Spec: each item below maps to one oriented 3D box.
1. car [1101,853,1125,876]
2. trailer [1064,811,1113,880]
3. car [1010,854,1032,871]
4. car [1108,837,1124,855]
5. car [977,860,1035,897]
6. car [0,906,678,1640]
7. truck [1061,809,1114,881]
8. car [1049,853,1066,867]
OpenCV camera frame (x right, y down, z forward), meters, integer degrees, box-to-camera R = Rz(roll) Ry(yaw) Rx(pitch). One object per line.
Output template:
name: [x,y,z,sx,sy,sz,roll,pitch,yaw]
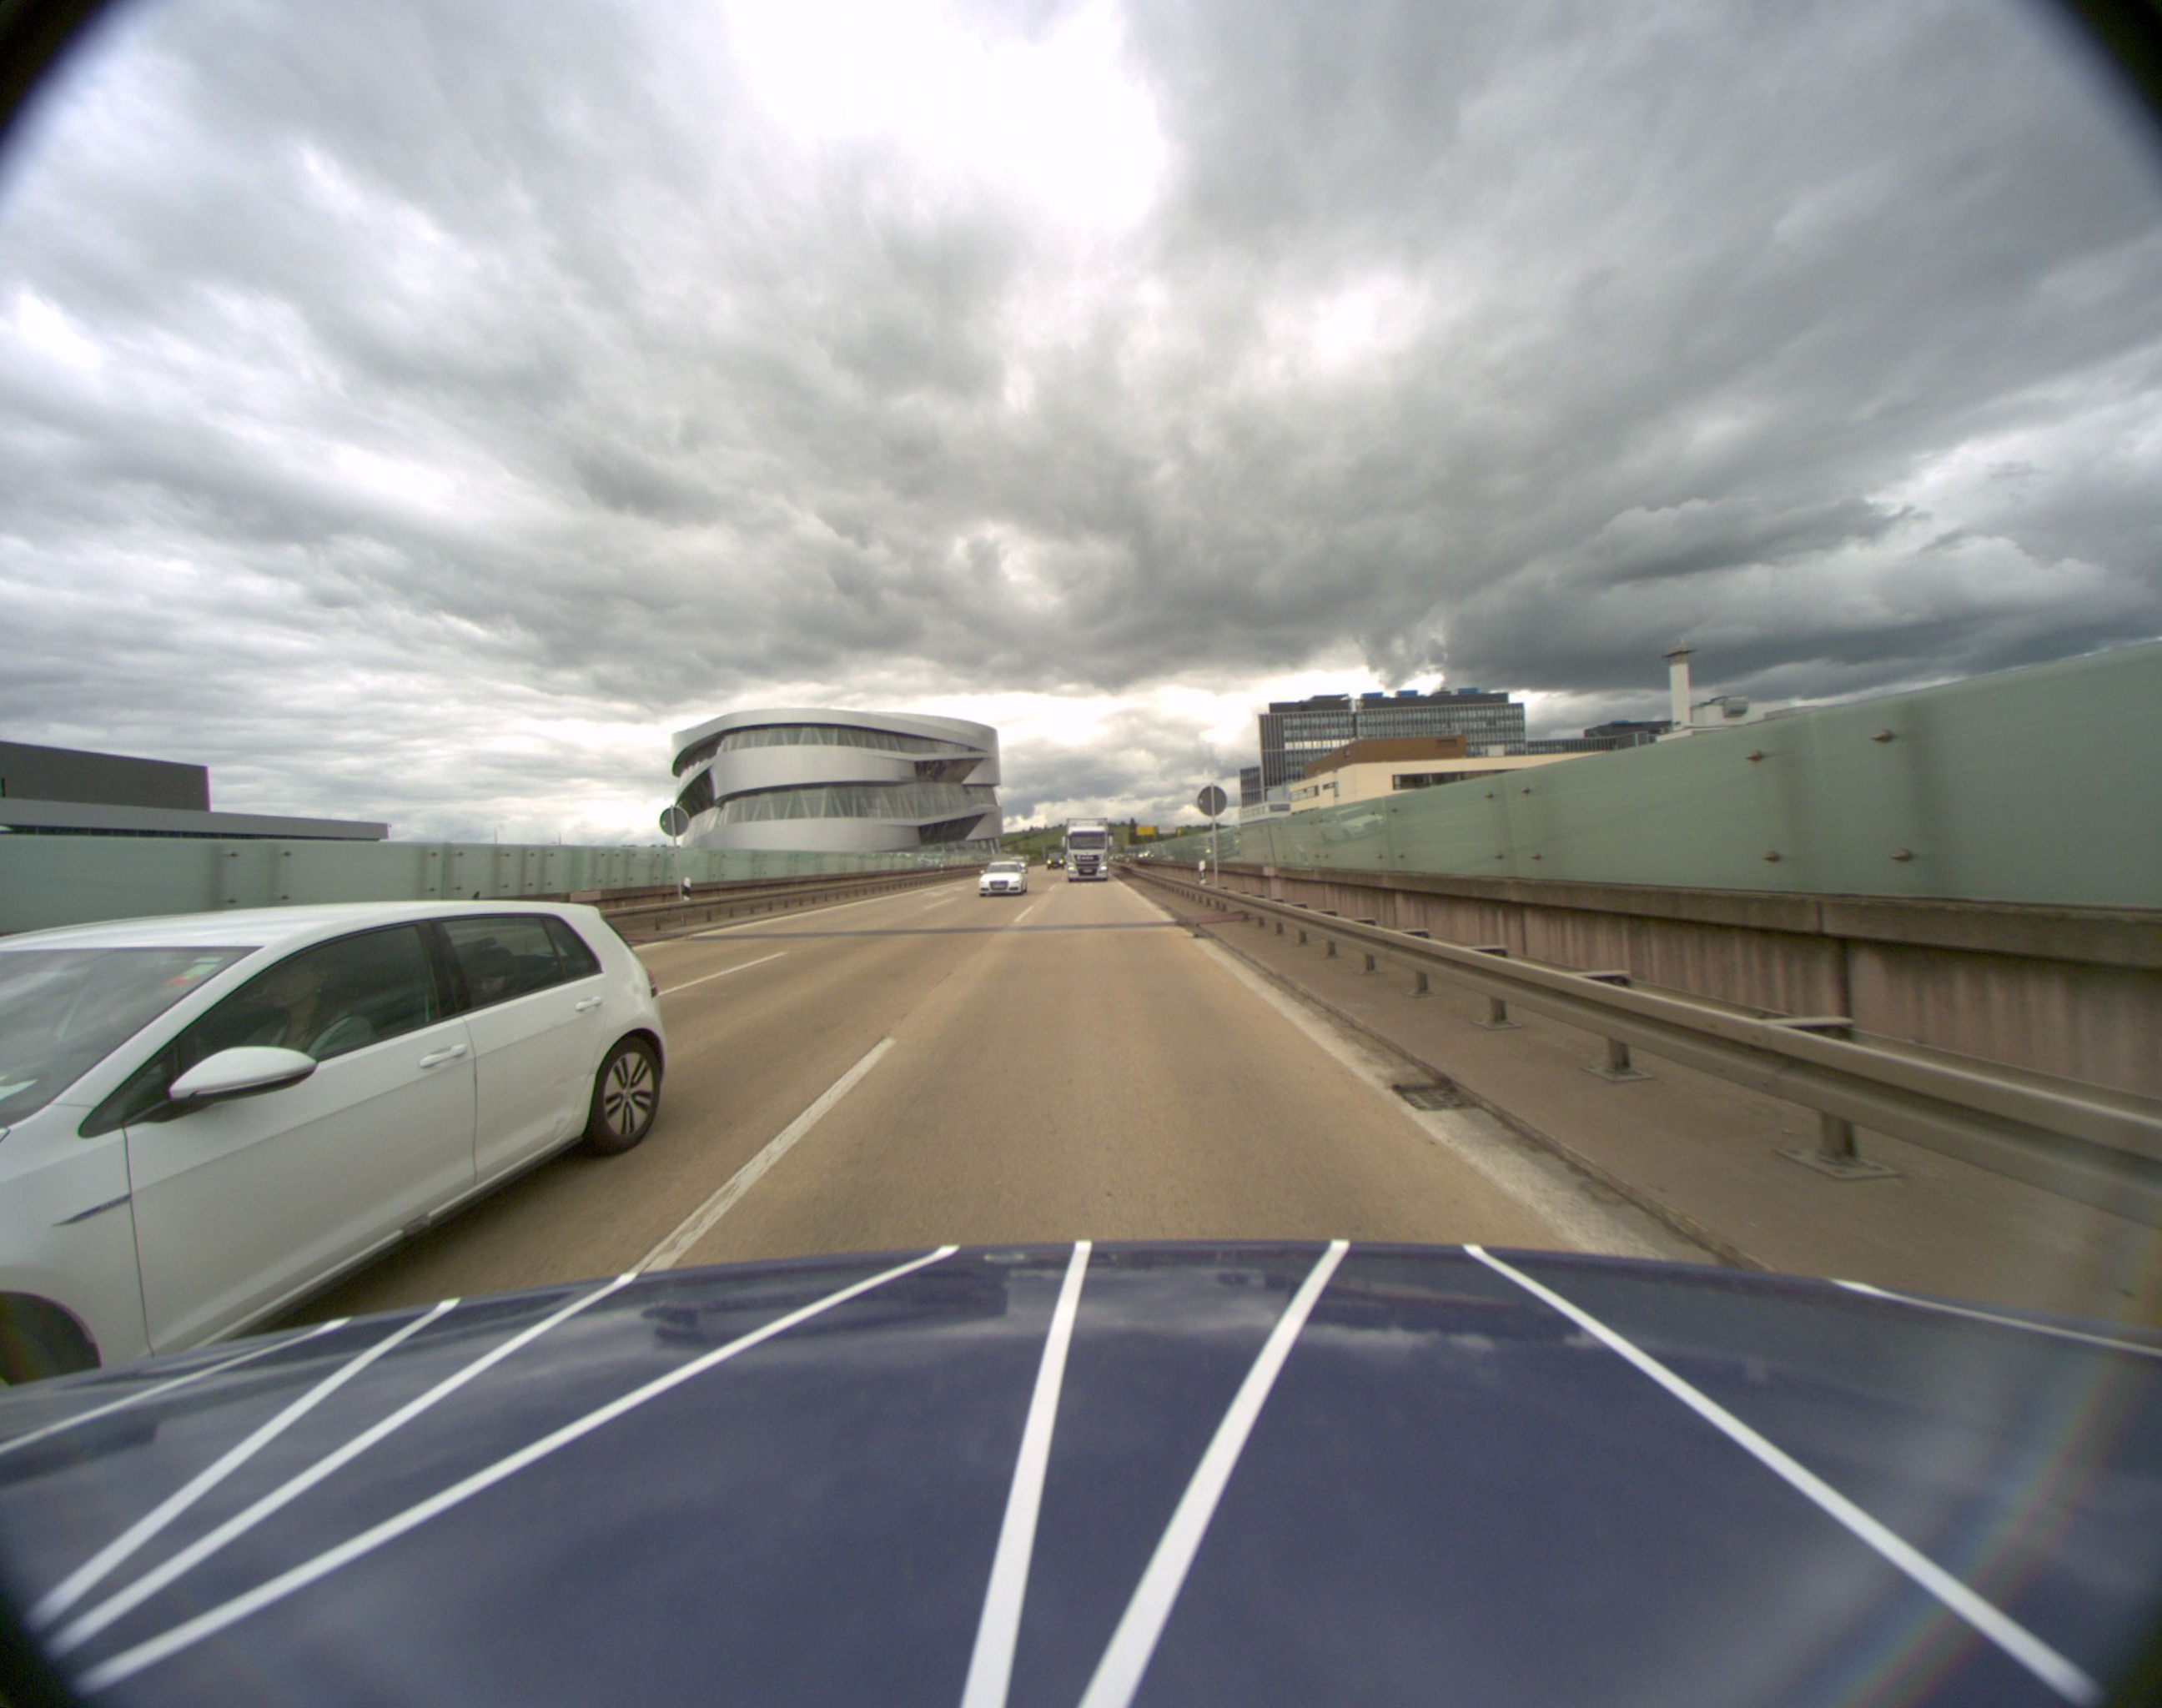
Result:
car: [2.881,0.932,69.771,1.998,2.002,3.999,-2,1,0]
trailer: [0.640,-0.547,52.068,2.880,4.104,11.220,-2,0,2]
car: [-6.024,0.833,76.096,1.785,1.624,3.627,-2,1,1]
car: [5.193,-1.153,113.179,2.144,2.494,4.524,-2,1,1]
car: [-3.185,1.016,33.000,1.848,1.443,3.933,-2,0,3]
car: [-3.301,1.049,2.490,1.759,1.443,4.072,-1,0,0]
truck: [0.502,-0.558,47.758,2.946,4.136,6.292,-2,0,2]
car: [-2.838,0.711,91.551,1.765,1.624,3.627,-2,1,1]
